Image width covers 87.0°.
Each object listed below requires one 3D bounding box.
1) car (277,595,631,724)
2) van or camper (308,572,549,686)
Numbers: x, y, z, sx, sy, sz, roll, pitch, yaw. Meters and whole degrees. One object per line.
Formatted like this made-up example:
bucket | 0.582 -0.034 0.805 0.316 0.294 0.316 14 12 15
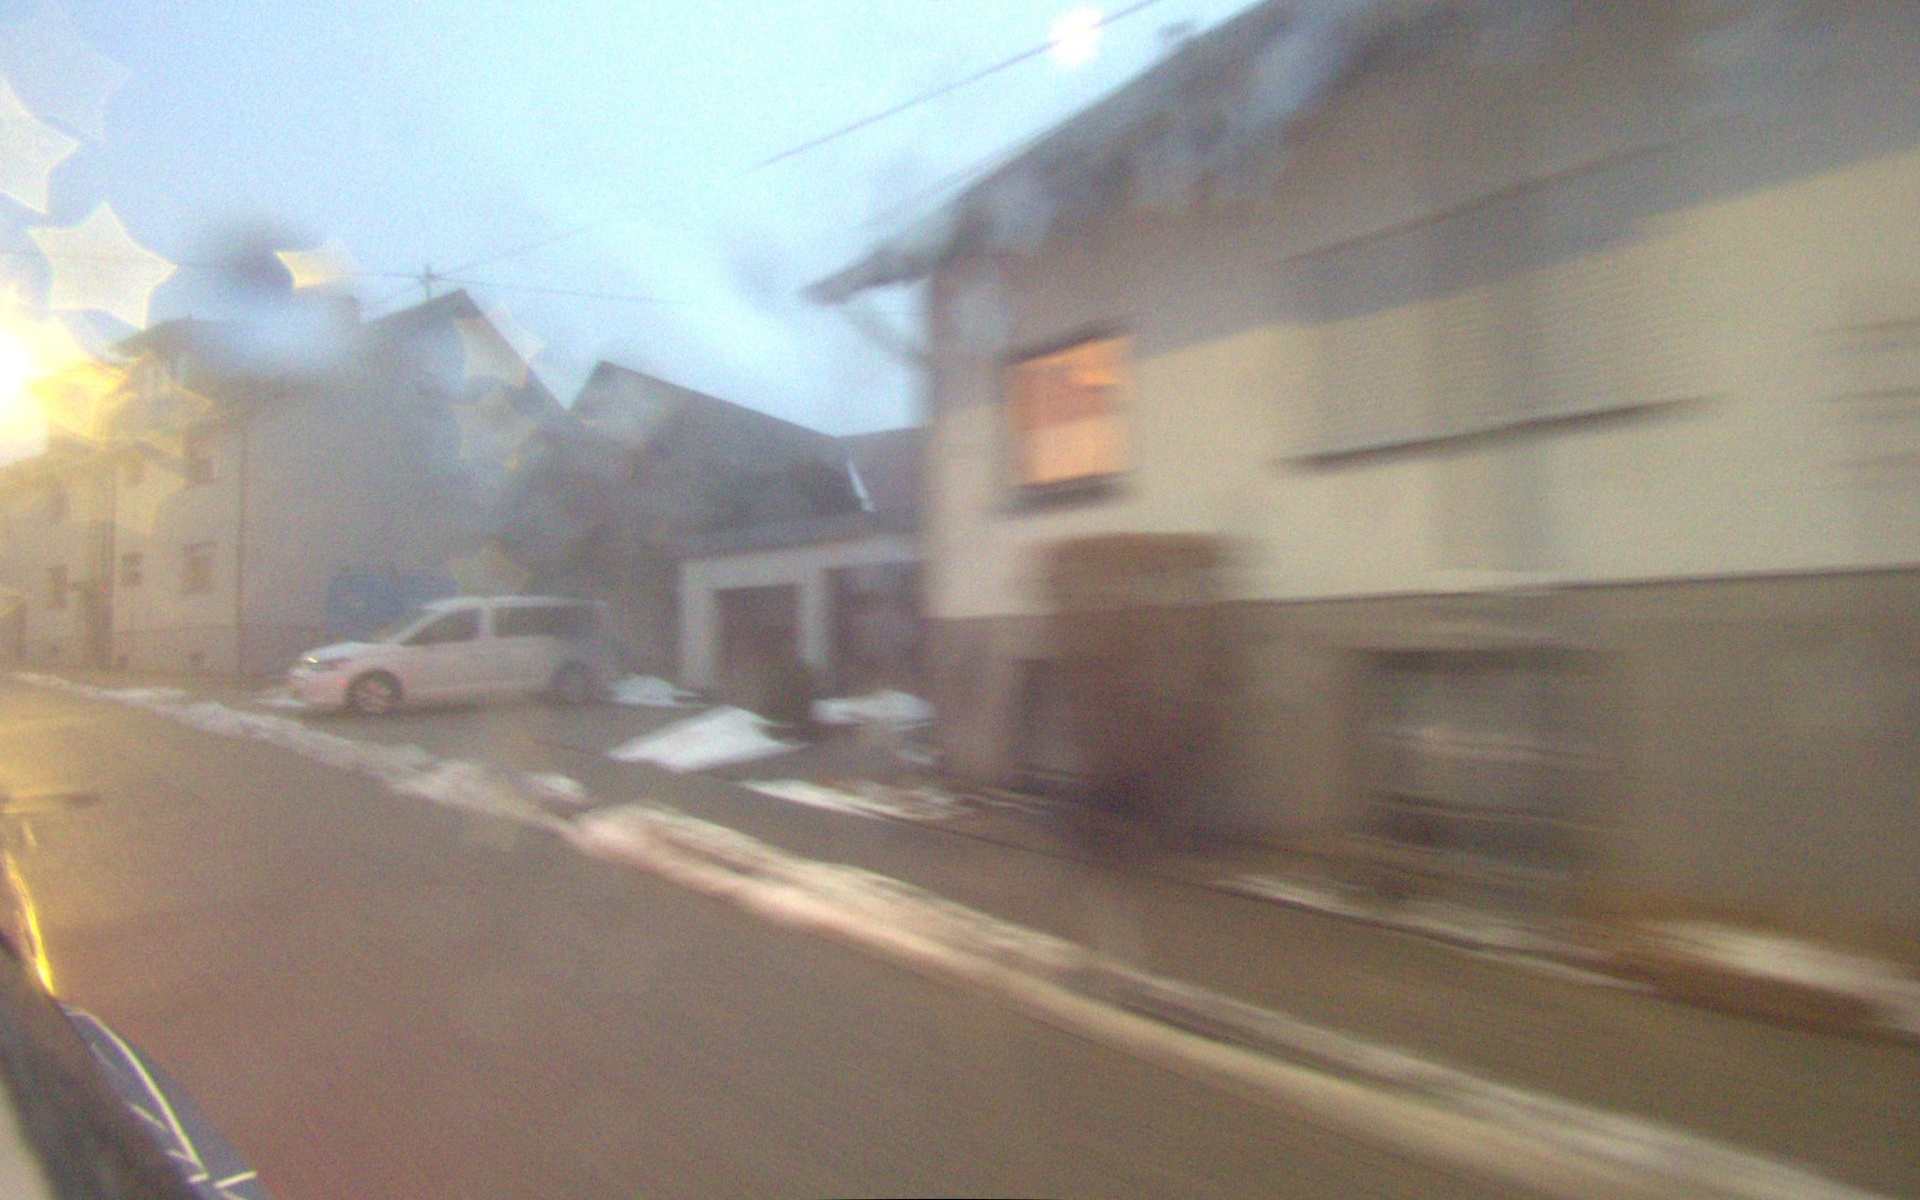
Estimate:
car | -7.994 0.837 16.305 4.734 1.679 1.892 -2 0 -43
van or camper | -12.794 0.739 24.860 2.127 2.467 5.275 0 -2 17
